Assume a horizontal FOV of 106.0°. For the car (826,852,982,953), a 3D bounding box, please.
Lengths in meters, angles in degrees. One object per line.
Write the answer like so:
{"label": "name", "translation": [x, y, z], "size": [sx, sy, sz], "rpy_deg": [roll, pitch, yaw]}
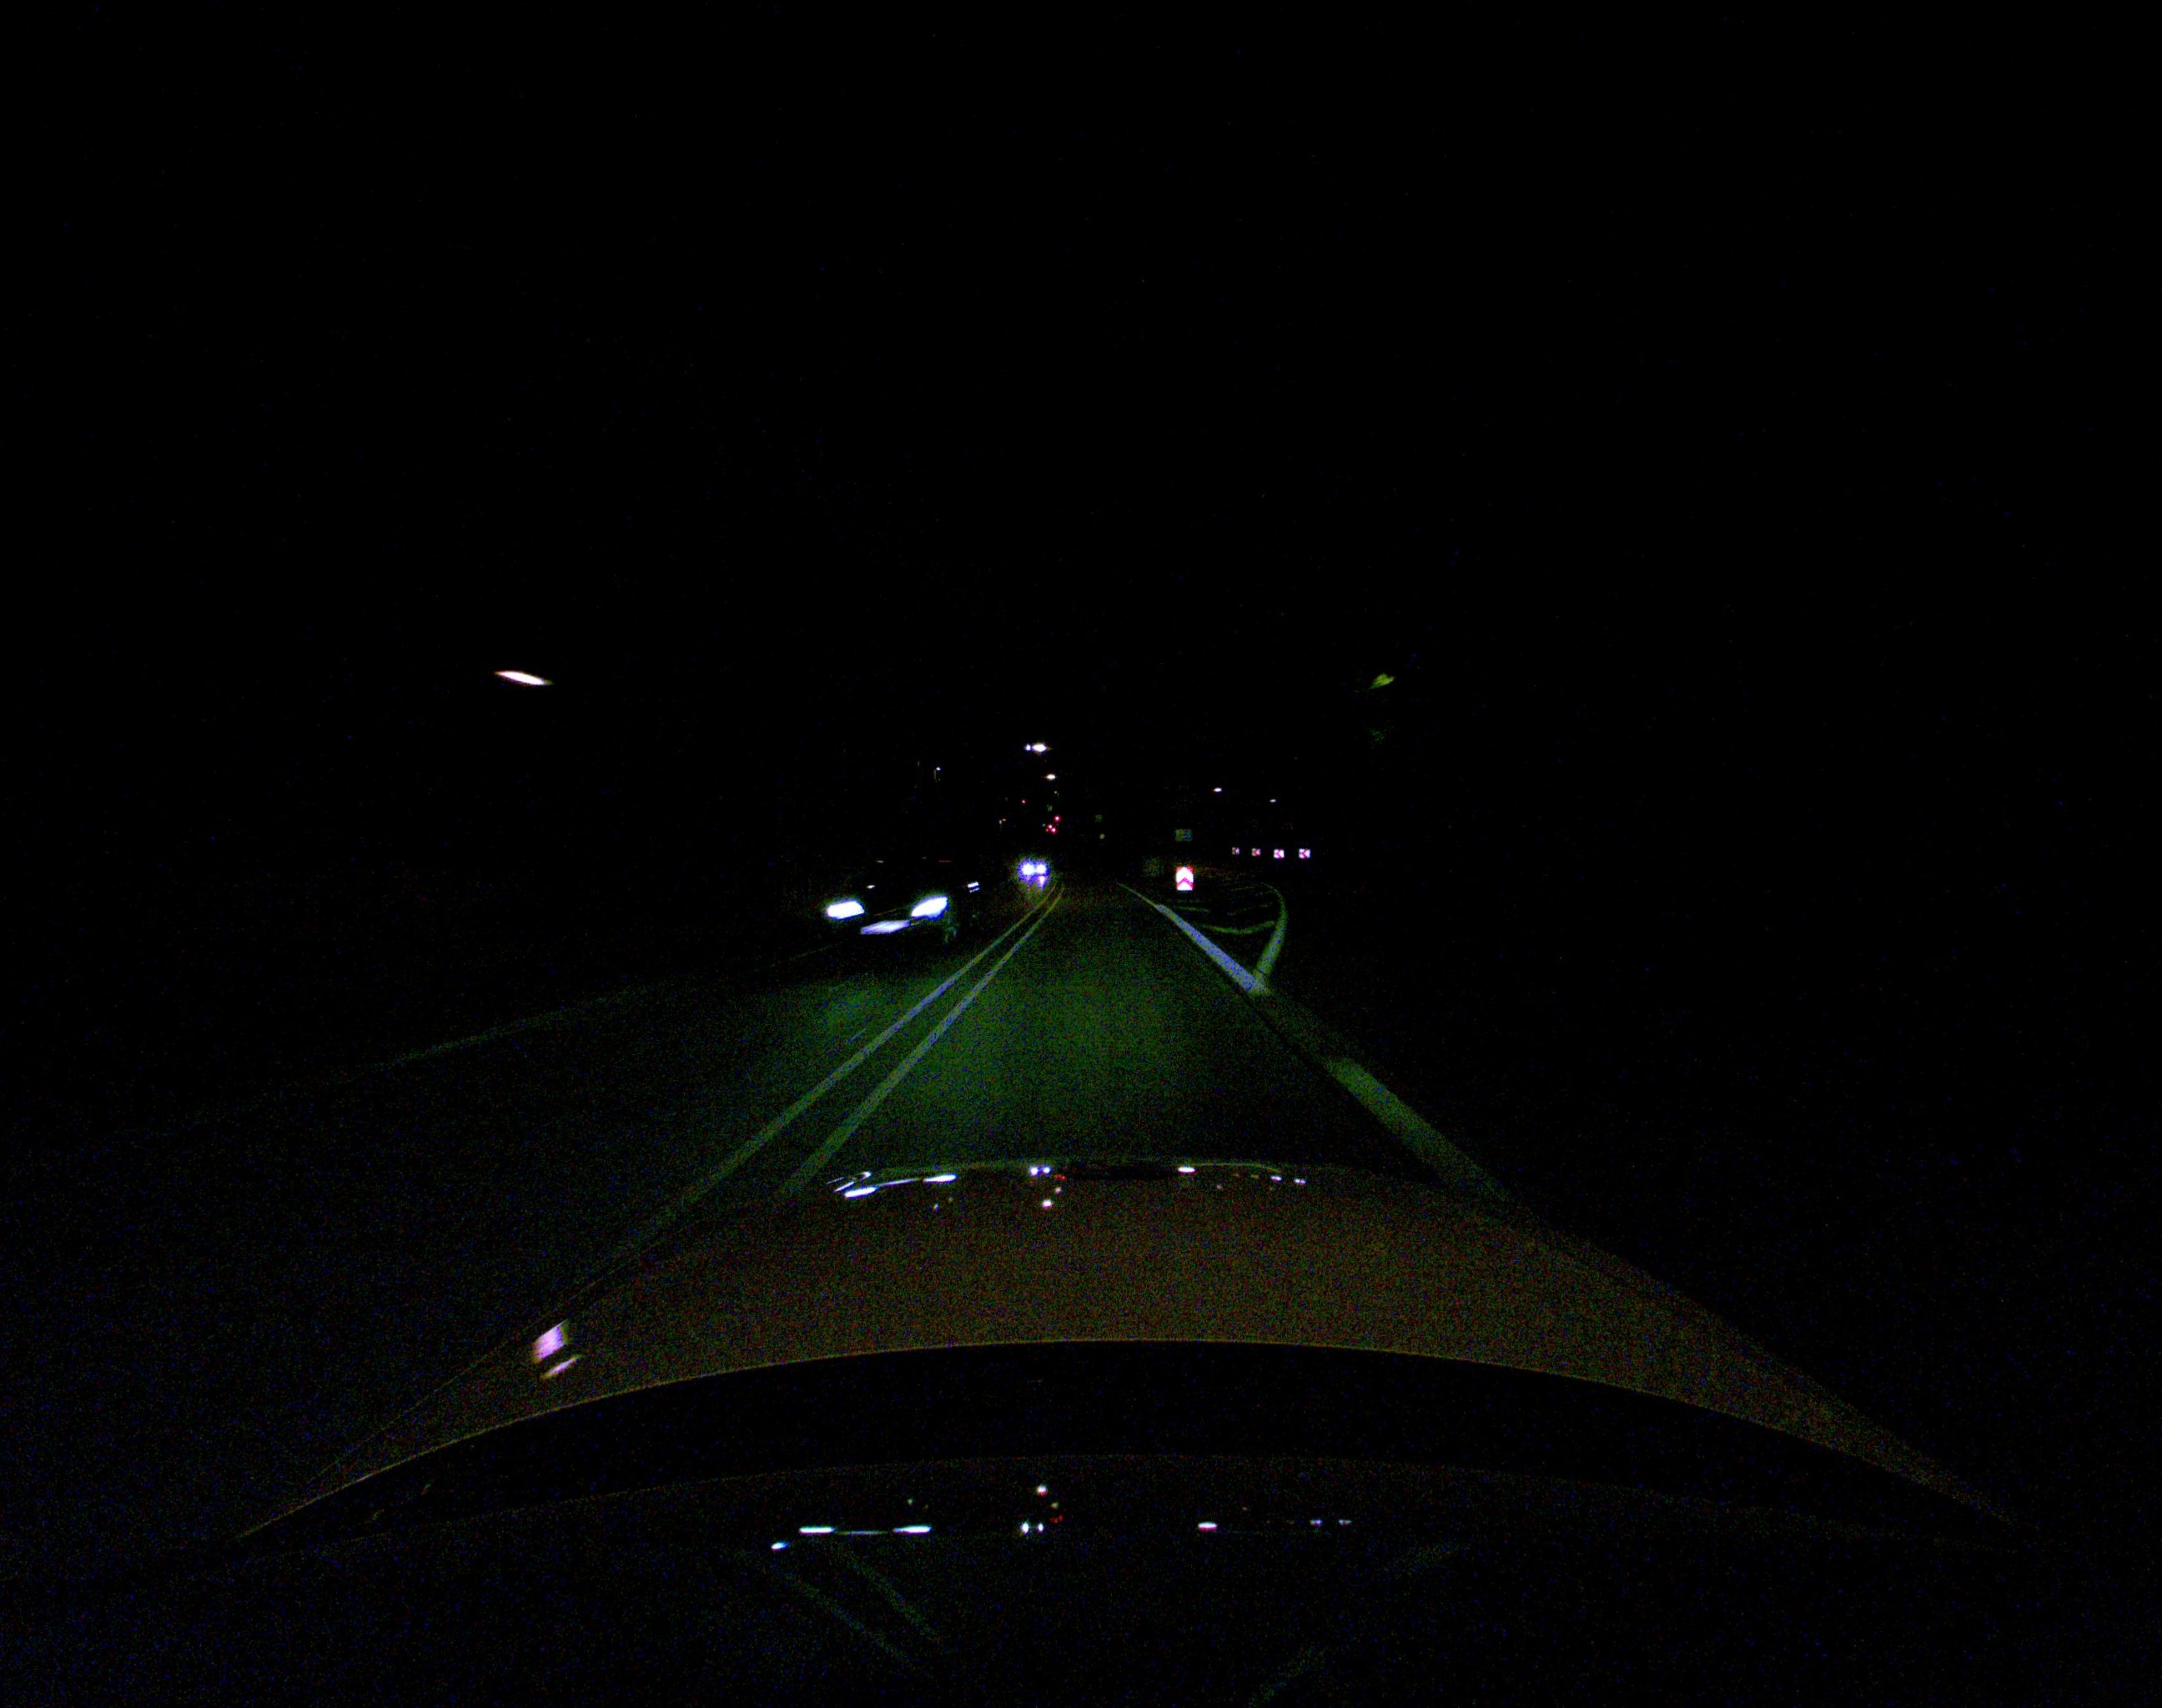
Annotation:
{"label": "car", "translation": [-3.101, 0.825, 15.164], "size": [1.875, 1.554, 4.217], "rpy_deg": [-2, -1, 1]}

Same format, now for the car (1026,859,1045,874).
{"label": "car", "translation": [-4.600, 1.318, 82.630], "size": [1.783, 1.447, 4.169], "rpy_deg": [-1, -1, -1]}
